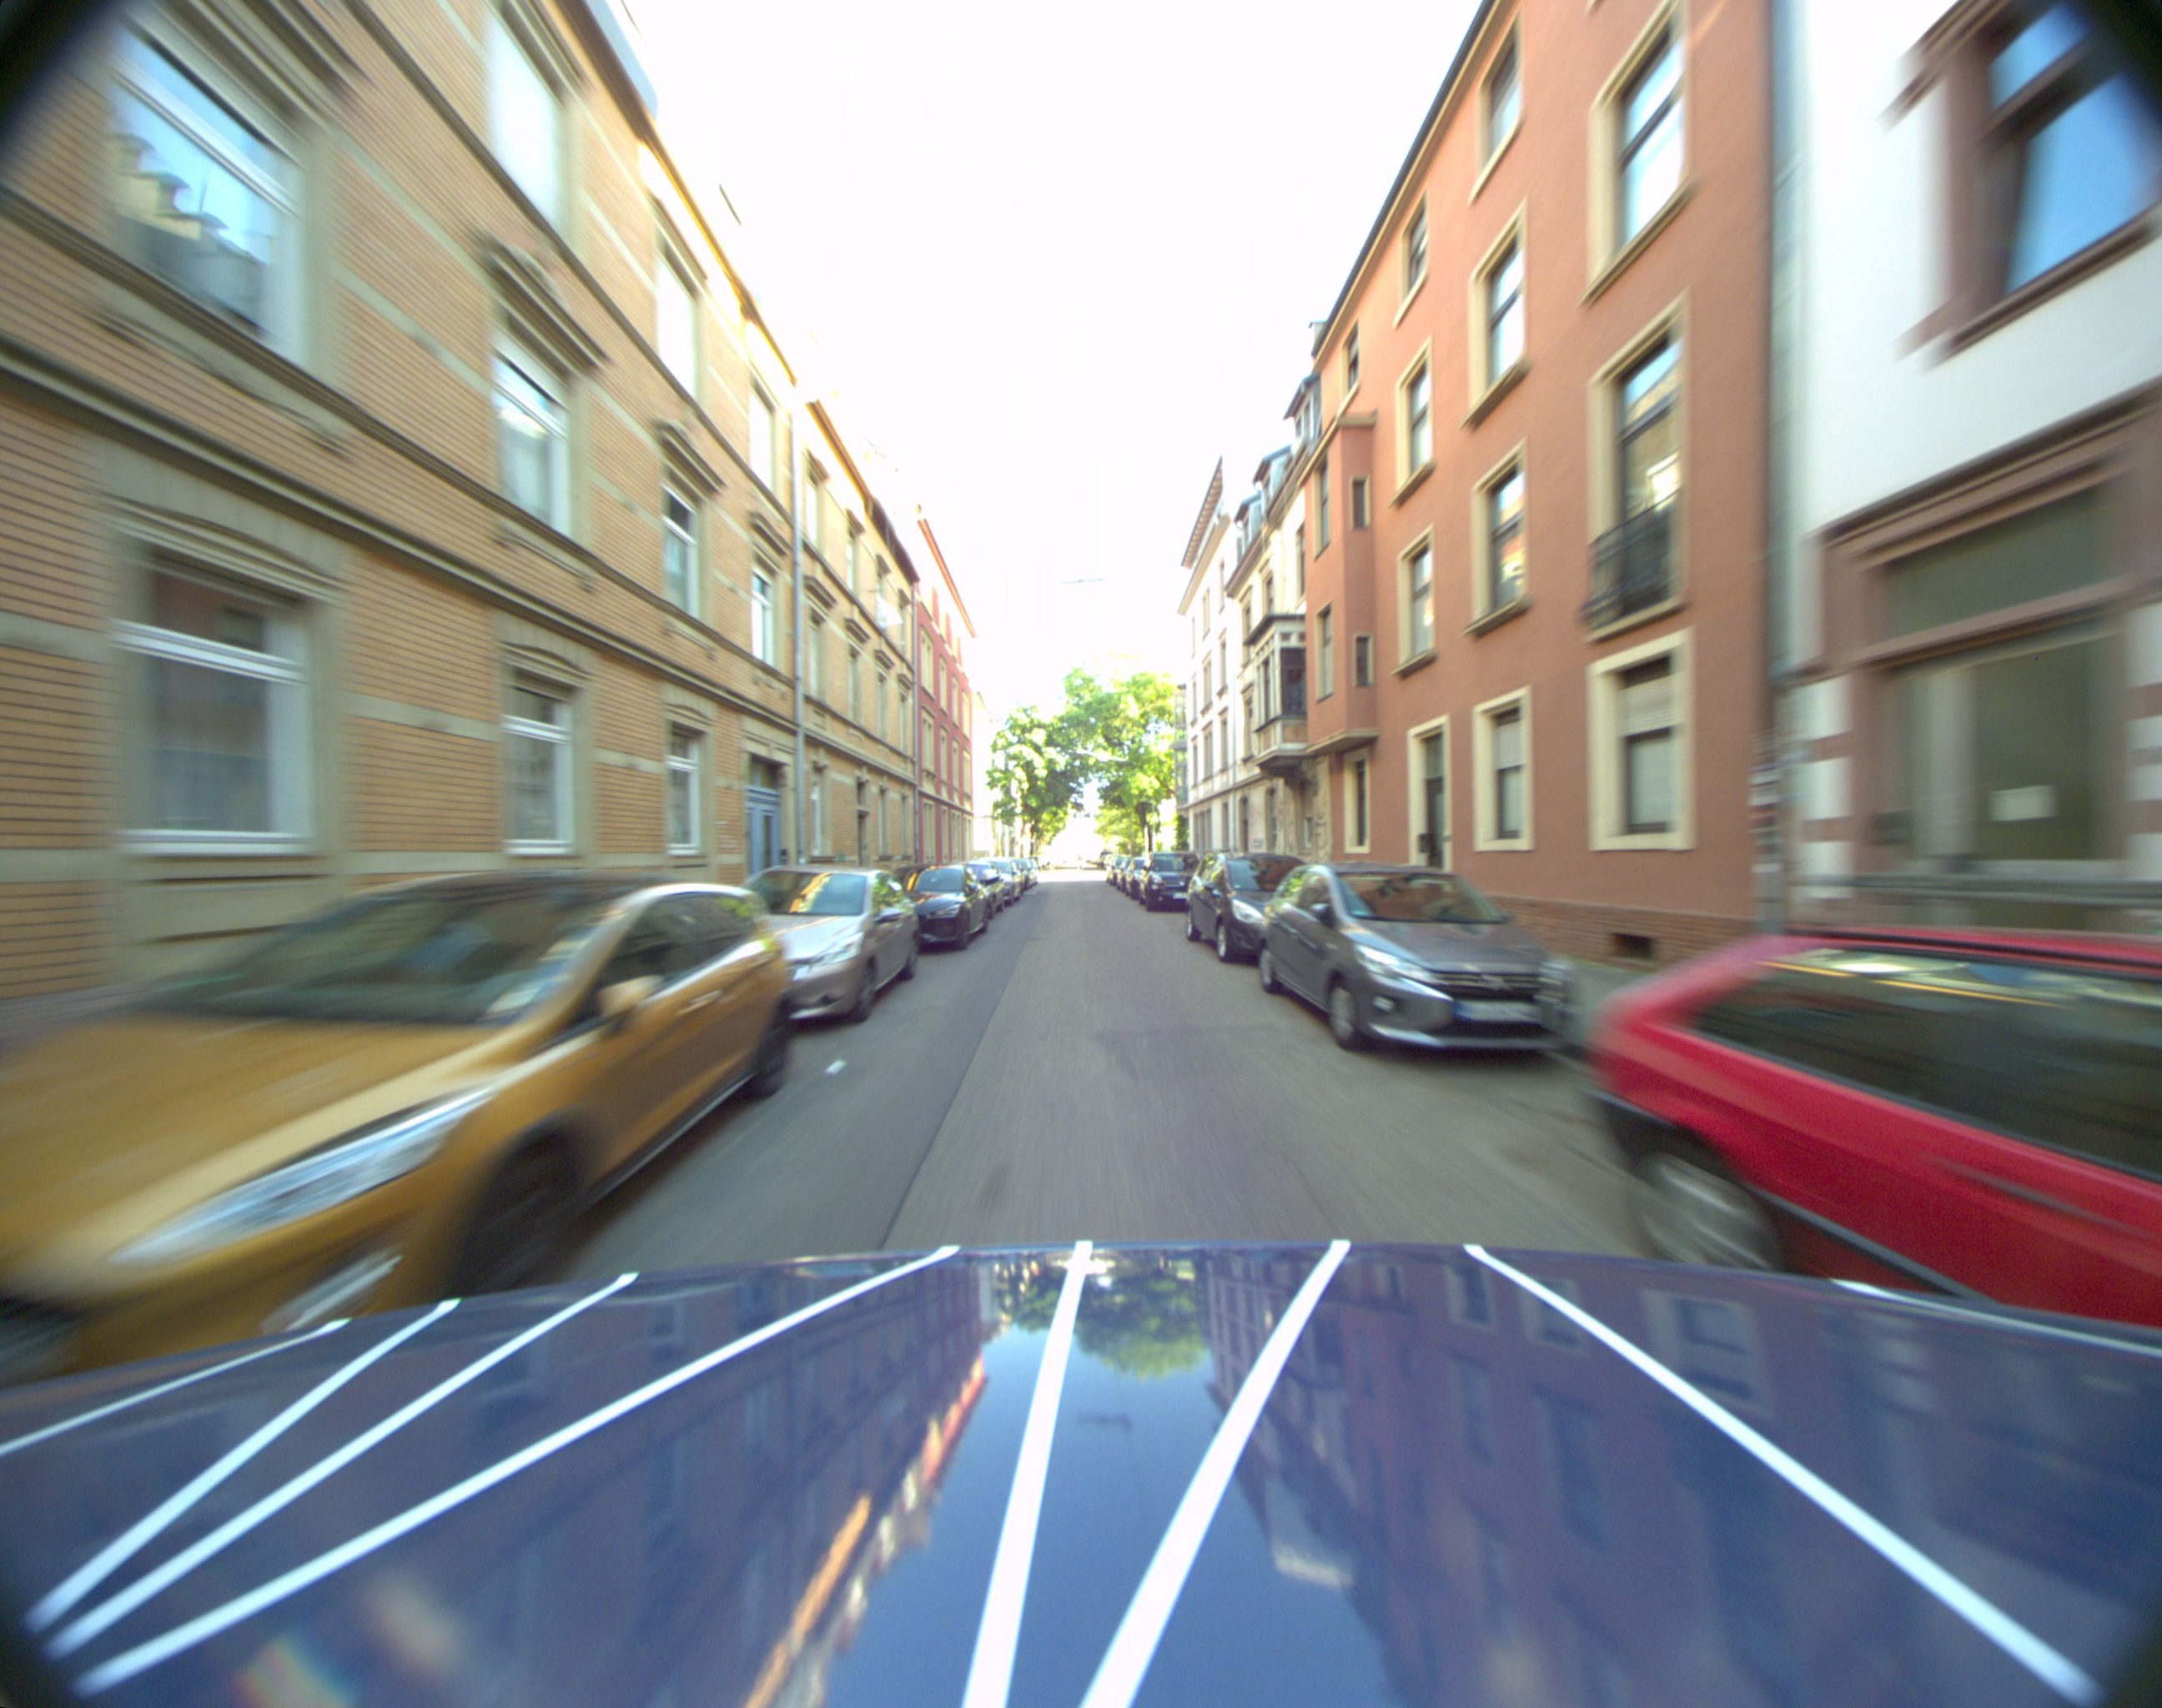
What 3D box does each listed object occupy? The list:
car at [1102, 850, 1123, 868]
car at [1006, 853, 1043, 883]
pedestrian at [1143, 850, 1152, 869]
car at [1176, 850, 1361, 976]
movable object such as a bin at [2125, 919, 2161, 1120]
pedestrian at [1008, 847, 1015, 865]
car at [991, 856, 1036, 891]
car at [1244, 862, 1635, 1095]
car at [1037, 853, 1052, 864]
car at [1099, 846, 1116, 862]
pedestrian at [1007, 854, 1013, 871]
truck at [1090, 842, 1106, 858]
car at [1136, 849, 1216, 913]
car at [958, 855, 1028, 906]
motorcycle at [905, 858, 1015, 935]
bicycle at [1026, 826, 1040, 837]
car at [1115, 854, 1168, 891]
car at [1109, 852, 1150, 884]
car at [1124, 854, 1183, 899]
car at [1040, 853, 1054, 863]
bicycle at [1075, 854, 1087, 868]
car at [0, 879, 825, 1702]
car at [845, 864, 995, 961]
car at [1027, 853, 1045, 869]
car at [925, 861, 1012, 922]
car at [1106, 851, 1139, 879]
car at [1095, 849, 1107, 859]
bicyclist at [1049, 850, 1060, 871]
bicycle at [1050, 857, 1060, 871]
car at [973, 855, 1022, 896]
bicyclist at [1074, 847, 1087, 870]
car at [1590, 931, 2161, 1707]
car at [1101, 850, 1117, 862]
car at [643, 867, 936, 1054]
[{"bbox_3d":[2.856,0.463,69.885,1.710,1.549,3.951,2,1,-1],"label":"car"},{"bbox_3d":[-3.033,0.722,41.156,1.709,1.454,3.969,-1,0,-1],"label":"car"},{"bbox_3d":[6.303,0.527,72.069,0.805,1.736,1.006,-1,1,0],"label":"pedestrian"},{"bbox_3d":[2.718,0.764,12.011,1.786,1.596,4.068,-1,0,-2],"label":"car"},{"bbox_3d":[5.797,0.854,3.727,0.552,1.021,0.559,-2,1,14],"label":"movable object such as a bin"},{"bbox_3d":[-7.463,0.206,81.664,0.706,1.834,0.840,-1,1,-6],"label":"pedestrian"},{"bbox_3d":[-3.092,0.861,35.271,1.681,1.494,4.068,-1,0,0],"label":"car"},{"bbox_3d":[2.813,0.854,7.026,1.698,1.466,3.918,2,0,0],"label":"car"},{"bbox_3d":[-4.988,0.625,104.772,1.824,1.521,3.999,-1,0,0],"label":"car"},{"bbox_3d":[3.310,-0.042,95.496,1.999,1.946,5.041,1,0,0],"label":"car"},{"bbox_3d":[-7.557,0.913,80.665,0.529,1.834,0.707,-1,1,0],"label":"pedestrian"},{"bbox_3d":[2.976,-0.769,134.099,2.395,2.641,7.091,-1,1,-2],"label":"truck"},{"bbox_3d":[2.613,0.688,21.818,1.765,1.608,4.188,-1,0,0],"label":"car"},{"bbox_3d":[-2.793,0.796,25.134,1.766,1.475,4.401,-1,0,0],"label":"car"},{"bbox_3d":[-2.763,0.937,17.408,2.229,1.528,0.888,-4,1,-26],"label":"motorcycle"},{"bbox_3d":[-5.431,-2.517,86.034,1.414,1.188,0.336,-4,1,-3],"label":"bicycle"},{"bbox_3d":[2.506,0.747,32.267,1.786,1.395,3.741,-1,0,-2],"label":"car"},{"bbox_3d":[2.389,0.678,38.311,1.785,1.474,3.742,-1,0,0],"label":"car"},{"bbox_3d":[2.518,0.743,27.210,1.647,1.447,3.838,1,0,-2],"label":"car"},{"bbox_3d":[-4.907,0.531,111.068,1.812,1.412,3.999,-1,0,0],"label":"car"},{"bbox_3d":[-0.011,0.626,65.421,0.985,1.136,2.547,-1,1,-1],"label":"bicycle"},{"bbox_3d":[-2.709,0.951,3.526,1.758,1.437,4.067,2,1,-2],"label":"car"},{"bbox_3d":[-2.713,0.932,13.807,1.782,1.388,4.317,-1,0,0],"label":"car"},{"bbox_3d":[-4.482,0.658,75.976,1.685,1.531,4.133,0,0,-2],"label":"car"},{"bbox_3d":[-2.889,0.913,20.348,1.696,1.398,3.992,-1,0,0],"label":"car"},{"bbox_3d":[2.299,0.583,42.937,1.785,1.474,3.932,-1,0,2],"label":"car"},{"bbox_3d":[3.042,-0.057,116.323,1.755,1.464,3.999,-3,1,0],"label":"car"},{"bbox_3d":[-2.280,0.565,65.857,0.934,1.809,1.077,-1,1,0],"label":"bicyclist"},{"bbox_3d":[-2.270,0.857,65.895,0.810,1.136,2.547,-1,1,-1],"label":"bicycle"},{"bbox_3d":[-3.316,0.818,30.751,1.663,1.471,4.023,-1,0,-3],"label":"car"},{"bbox_3d":[-0.020,0.369,65.344,0.967,1.904,1.139,-1,1,-6],"label":"bicyclist"},{"bbox_3d":[2.896,1.002,1.230,1.622,1.319,3.611,2,1,-1],"label":"car"},{"bbox_3d":[3.310,0.210,90.014,1.731,1.455,3.844,0,0,-1],"label":"car"},{"bbox_3d":[-2.826,0.930,8.403,1.730,1.409,4.092,3,0,-2],"label":"car"}]
